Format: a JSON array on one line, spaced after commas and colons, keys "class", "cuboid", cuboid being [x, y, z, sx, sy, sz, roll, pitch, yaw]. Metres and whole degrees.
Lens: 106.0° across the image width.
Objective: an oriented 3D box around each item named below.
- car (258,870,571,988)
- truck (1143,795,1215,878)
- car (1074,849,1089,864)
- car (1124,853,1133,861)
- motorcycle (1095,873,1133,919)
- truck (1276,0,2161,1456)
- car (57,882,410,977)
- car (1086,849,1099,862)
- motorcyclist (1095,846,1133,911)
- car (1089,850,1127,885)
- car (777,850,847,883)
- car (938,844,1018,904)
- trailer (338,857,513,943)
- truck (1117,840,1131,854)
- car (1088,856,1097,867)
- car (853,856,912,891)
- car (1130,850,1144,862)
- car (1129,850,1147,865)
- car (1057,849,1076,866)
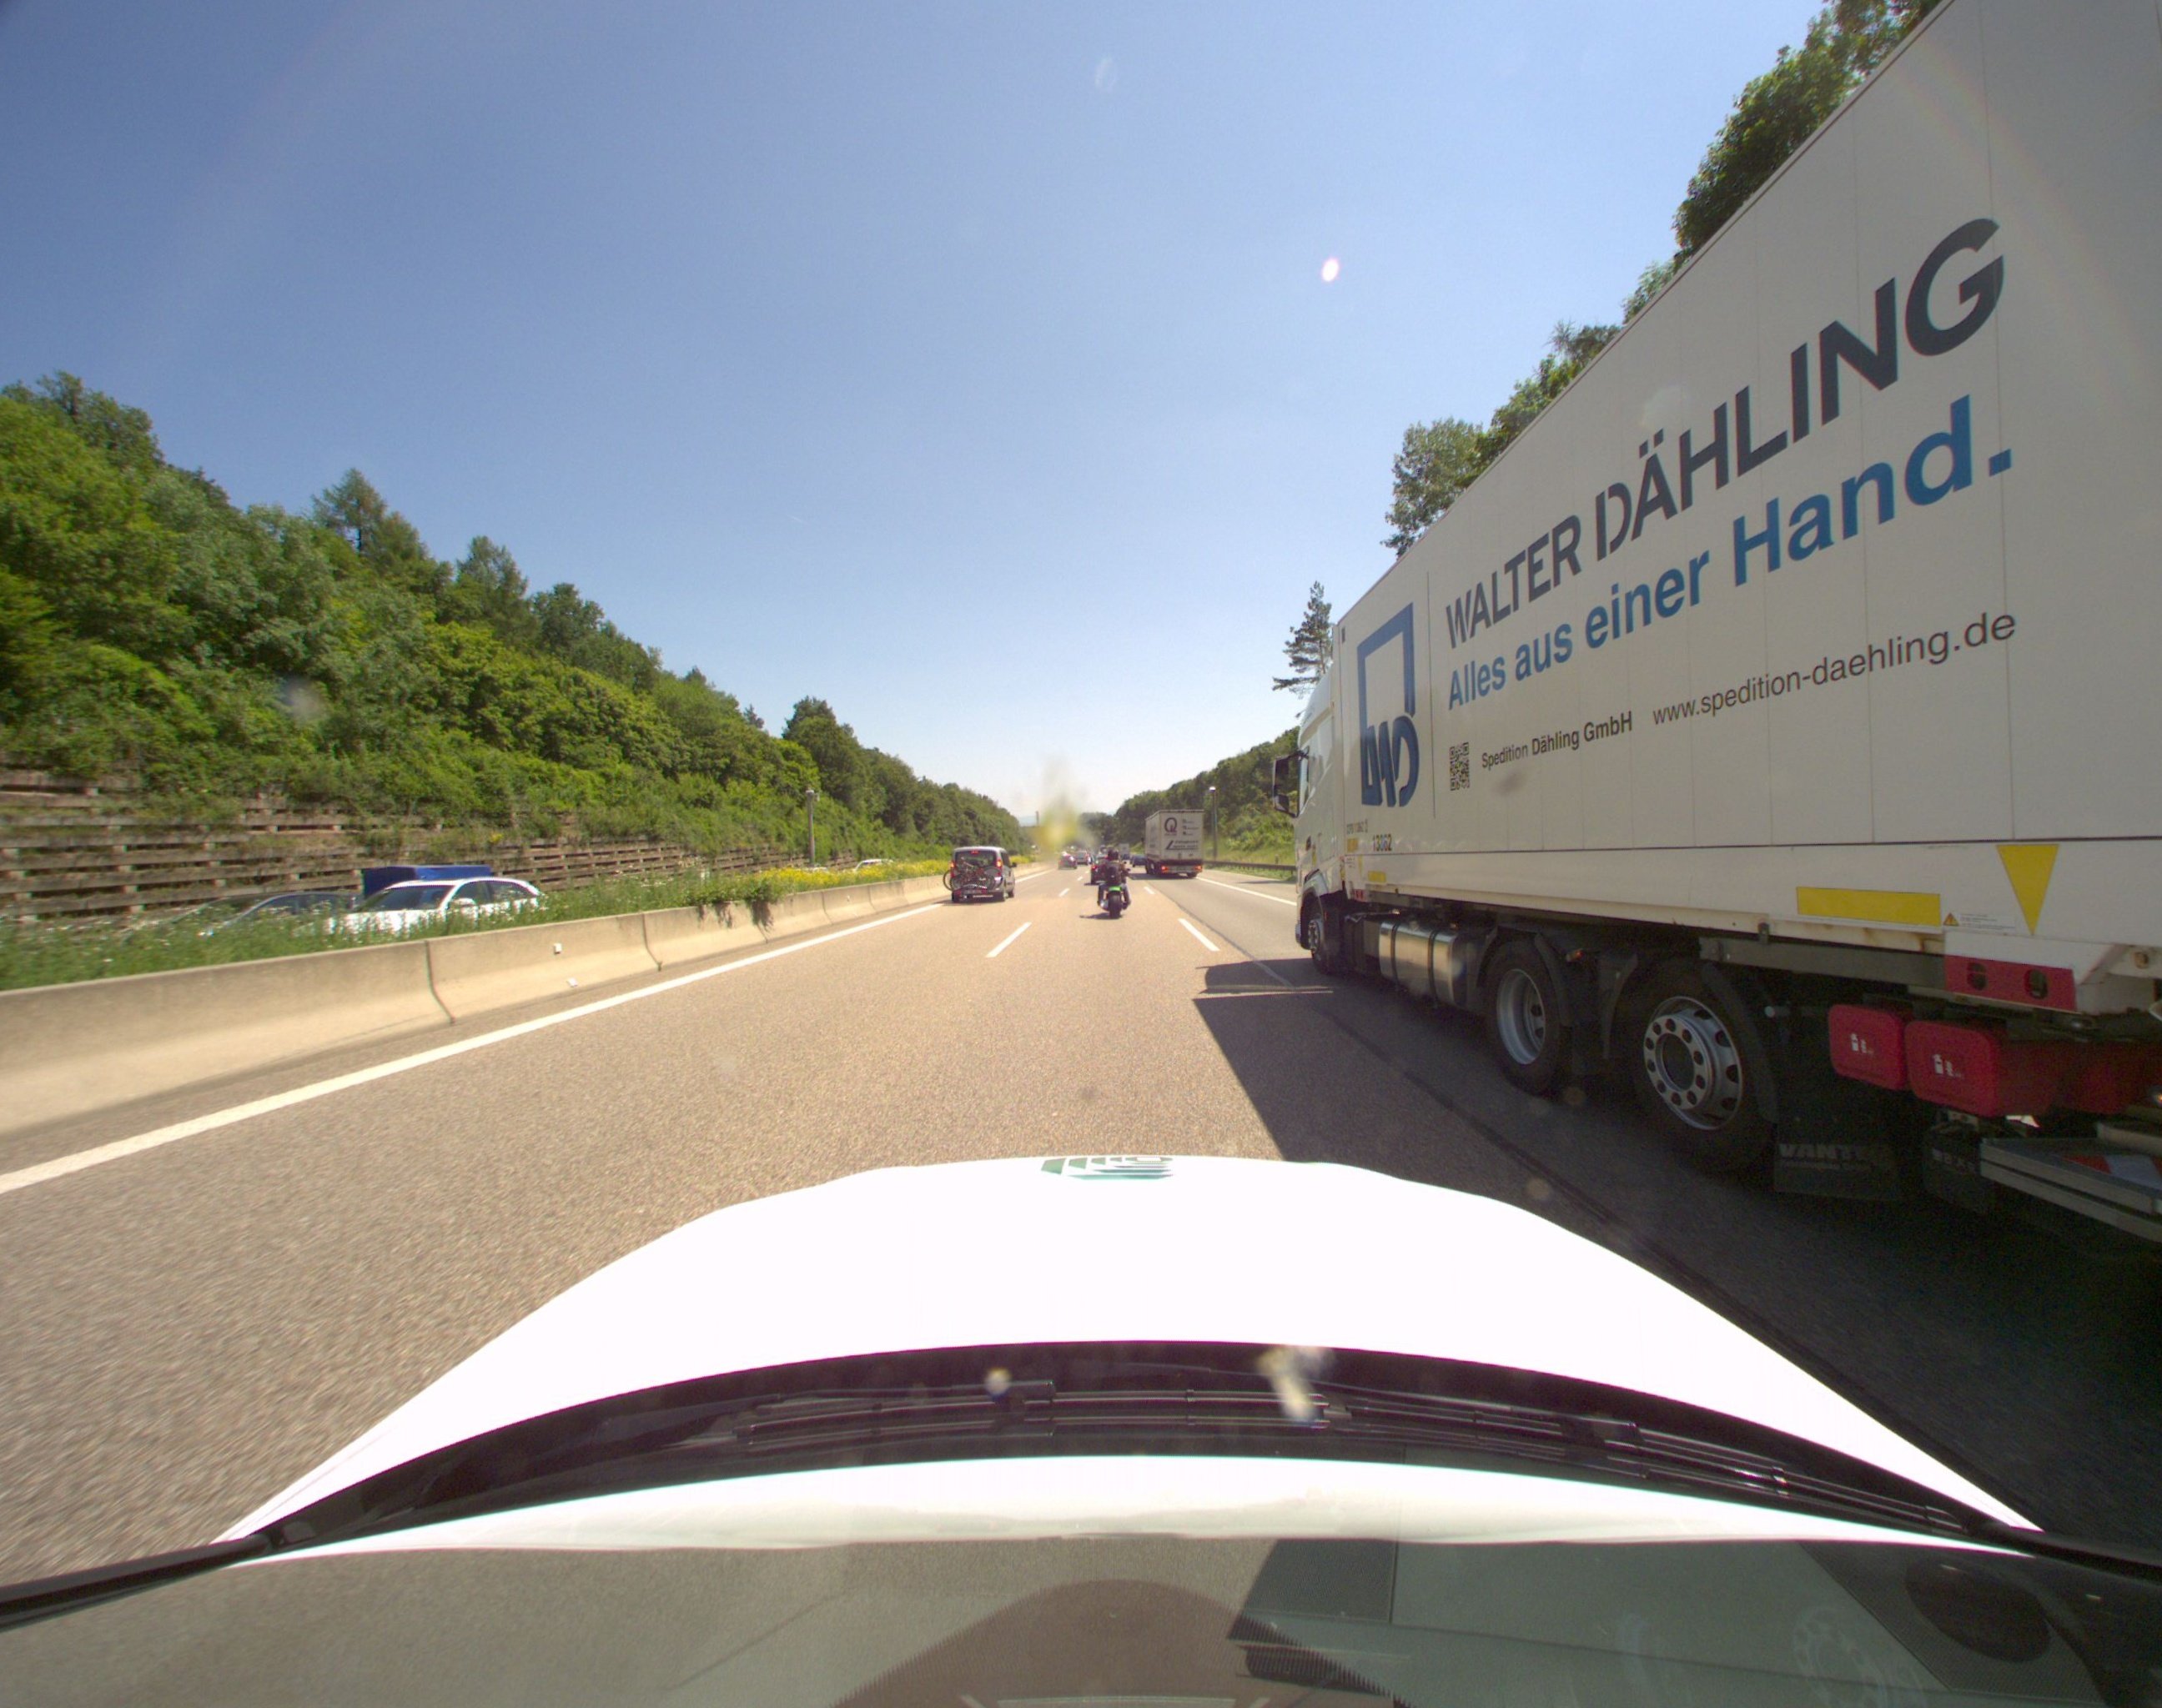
[{"class": "car", "cuboid": [-10.921, 1.126, 13.835, 1.782, 1.522, 4.203, -2, 0, 0]}, {"class": "truck", "cuboid": [6.294, -1.139, 55.549, 3.370, 4.717, 17.717, 0, 1, 2]}, {"class": "car", "cuboid": [0.093, 0.315, 105.817, 1.824, 1.810, 4.122, 0, 1, 1]}, {"class": "car", "cuboid": [10.186, 0.669, 174.160, 1.824, 1.558, 4.122, 0, 1, 1]}, {"class": "motorcycle", "cuboid": [0.820, 0.994, 19.836, 0.859, 0.982, 2.132, -1, 0, 3]}, {"class": "truck", "cuboid": [4.034, -0.715, 6.744, 2.669, 4.059, 10.632, -1, 1, 2]}, {"class": "car", "cuboid": [-18.347, 1.528, 18.199, 1.929, 1.522, 5.480, -2, 0, 3]}, {"class": "car", "cuboid": [1.723, 0.201, 122.695, 1.824, 1.810, 4.122, 0, 1, 1]}, {"class": "motorcyclist", "cuboid": [0.800, 0.572, 19.693, 0.852, 1.515, 0.914, -1, 0, 2]}, {"class": "car", "cuboid": [1.356, 0.645, 41.632, 1.839, 1.557, 4.441, 0, 1, 1]}, {"class": "car", "cuboid": [-13.618, 0.585, 41.446, 1.929, 1.522, 4.206, -2, 0, 3]}, {"class": "car", "cuboid": [-3.381, 0.602, 27.855, 1.891, 1.847, 5.485, 0, 0, 1]}, {"class": "trailer", "cuboid": [-18.119, 1.191, 22.736, 1.888, 2.116, 3.498, -2, 0, 3]}, {"class": "truck", "cuboid": [10.457, -1.748, 198.192, 3.056, 3.346, 9.657, 0, 1, 2]}, {"class": "car", "cuboid": [2.206, 1.420, 155.754, 1.824, 1.810, 4.122, 0, 1, 1]}, {"class": "car", "cuboid": [-9.839, 0.930, 40.620, 1.782, 1.522, 4.204, -2, 0, 1]}, {"class": "car", "cuboid": [7.933, 0.312, 116.580, 1.824, 1.558, 4.122, 0, 1, 1]}, {"class": "car", "cuboid": [6.360, 0.388, 90.621, 1.824, 1.558, 4.122, 0, 1, 1]}, {"class": "car", "cuboid": [-1.427, 0.314, 82.702, 1.751, 1.543, 4.397, 0, 1, 1]}]
